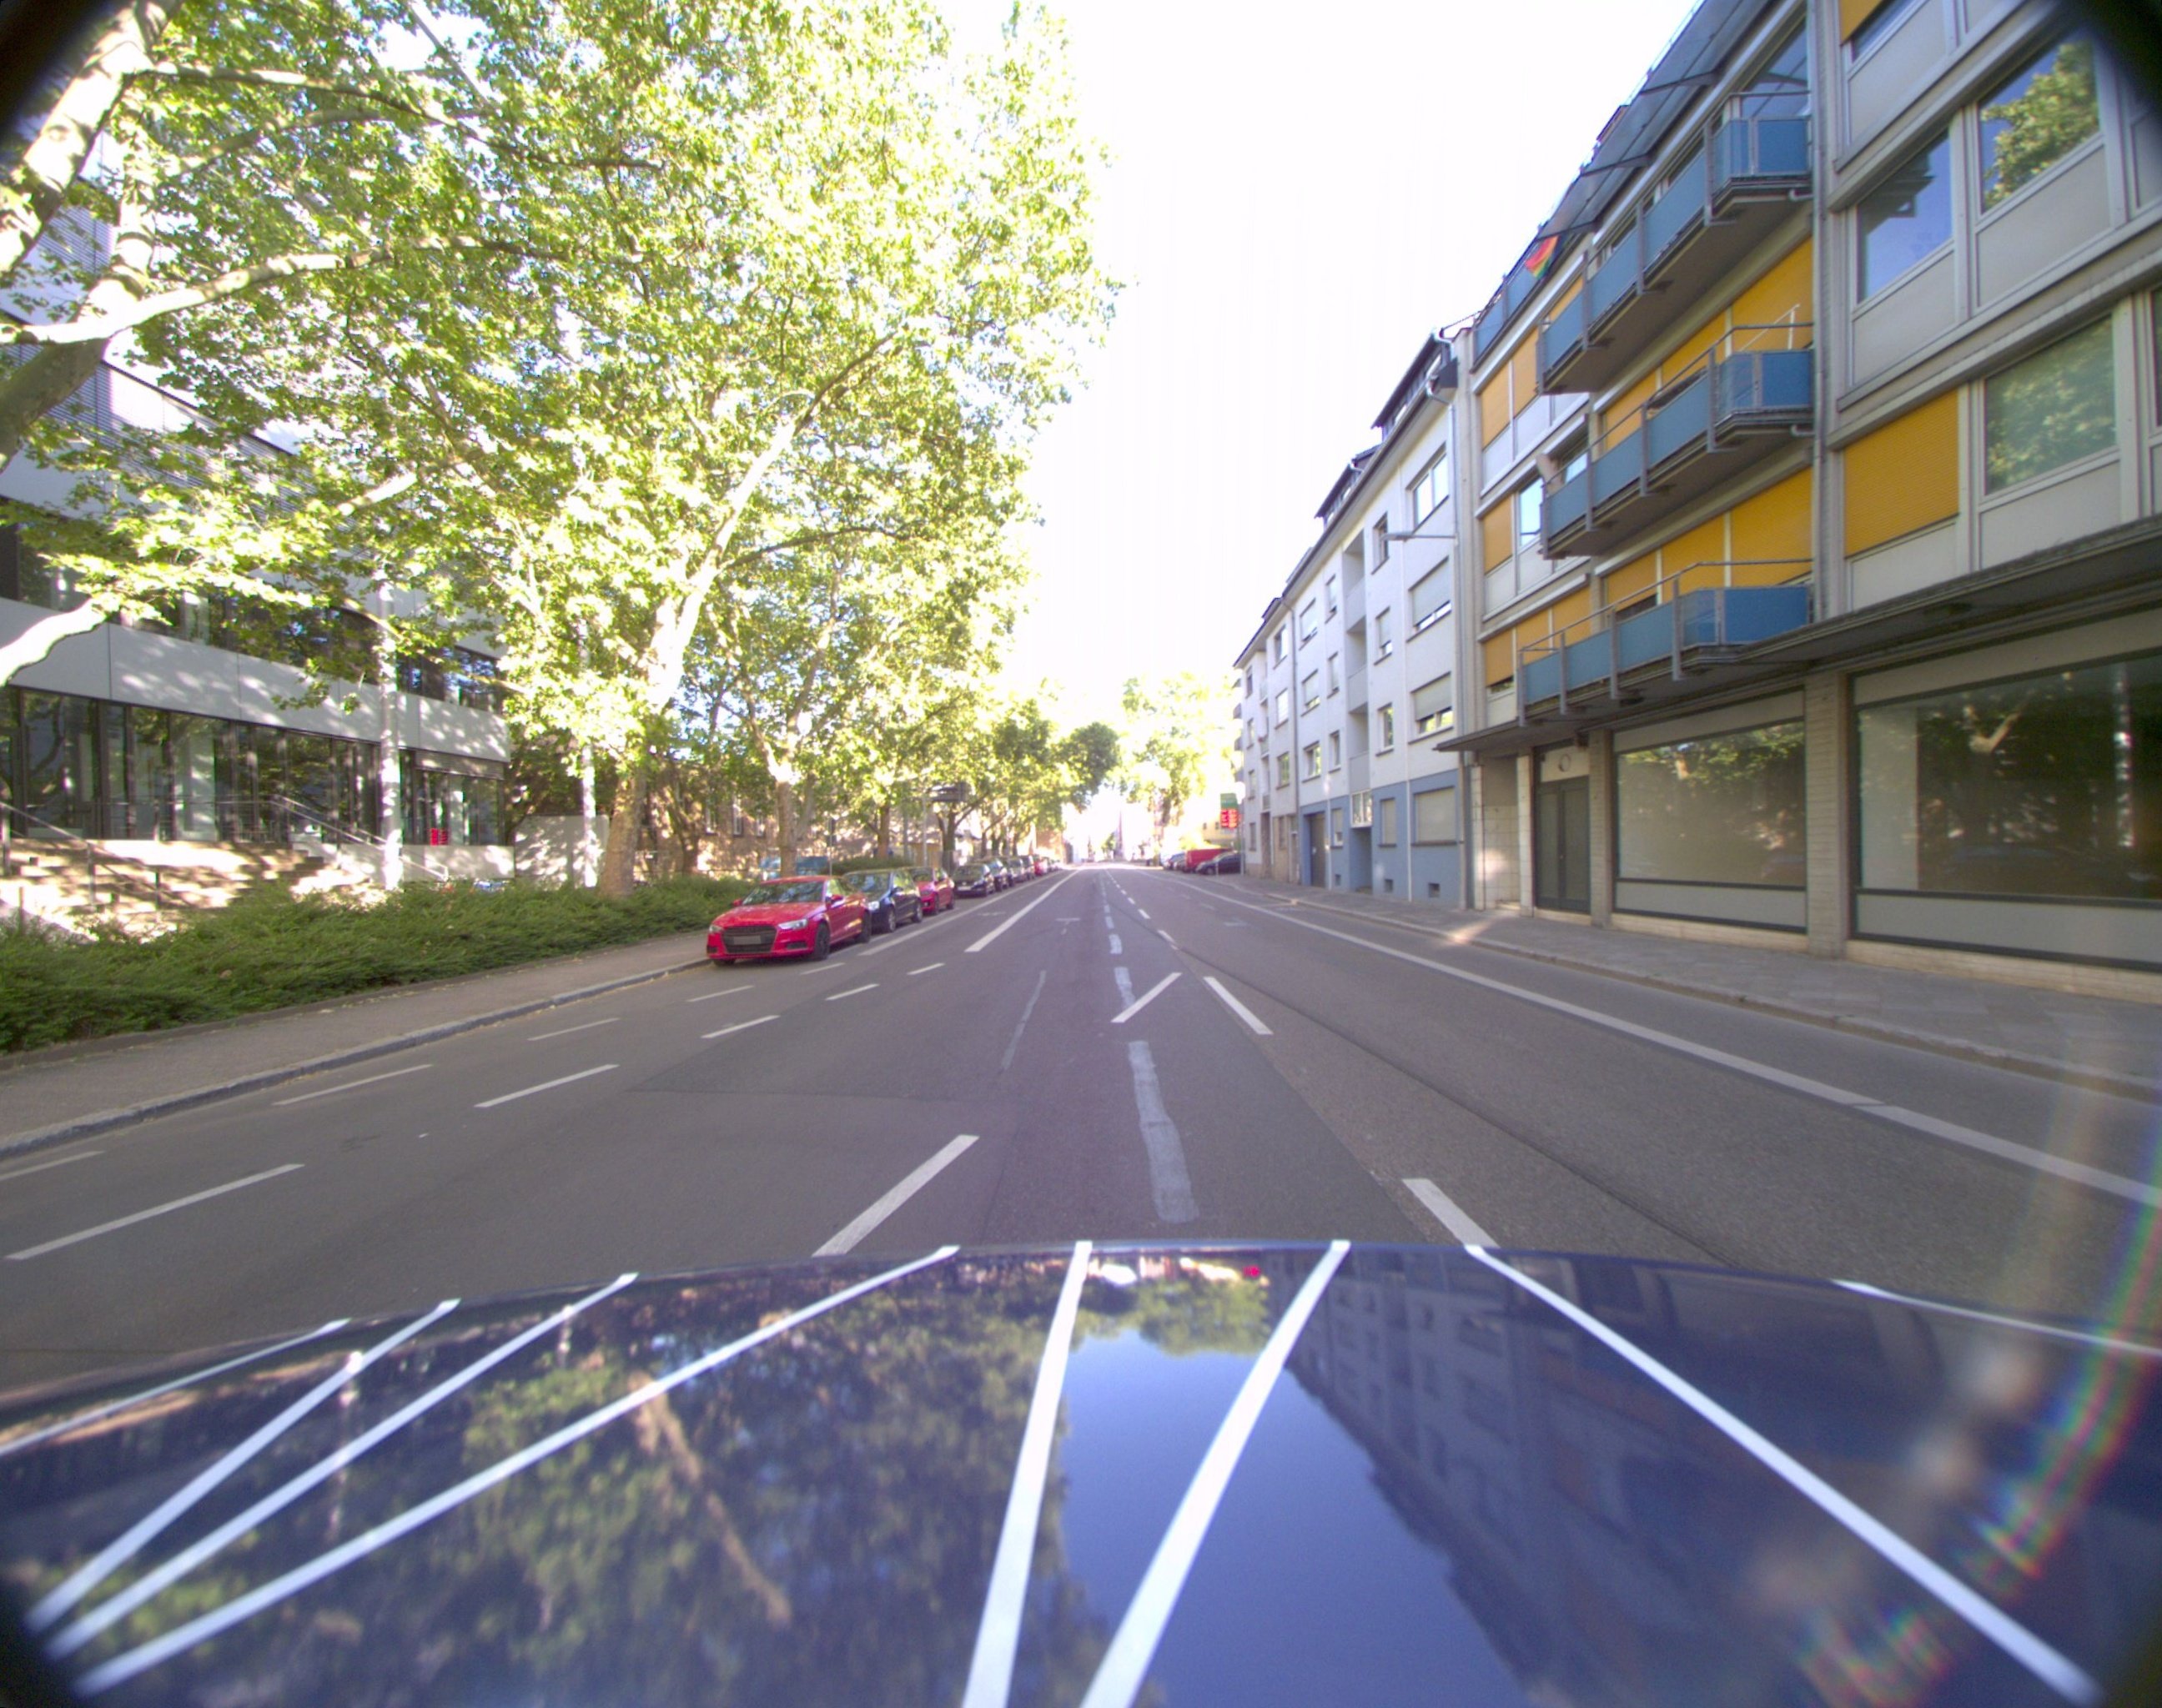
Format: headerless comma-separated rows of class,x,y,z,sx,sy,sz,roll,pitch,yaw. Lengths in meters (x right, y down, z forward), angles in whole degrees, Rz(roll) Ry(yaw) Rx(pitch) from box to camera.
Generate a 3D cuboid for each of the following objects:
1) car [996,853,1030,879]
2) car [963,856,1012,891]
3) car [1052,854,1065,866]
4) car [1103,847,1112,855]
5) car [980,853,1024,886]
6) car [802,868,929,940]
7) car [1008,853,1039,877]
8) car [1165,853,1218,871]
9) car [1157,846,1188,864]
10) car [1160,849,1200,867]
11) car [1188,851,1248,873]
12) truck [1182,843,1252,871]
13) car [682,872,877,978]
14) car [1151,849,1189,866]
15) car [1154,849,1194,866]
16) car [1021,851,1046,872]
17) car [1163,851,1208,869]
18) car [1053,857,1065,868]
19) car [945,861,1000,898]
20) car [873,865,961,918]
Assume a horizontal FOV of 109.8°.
car,-4.448,0.740,50.464,1.798,1.608,4.075,-1,0,1
car,-4.629,0.921,38.220,1.848,1.572,4.232,-2,0,1
car,-3.007,0.820,102.870,1.707,1.459,3.809,-1,0,0
car,6.749,-0.791,193.472,1.998,2.002,3.999,-2,1,1
car,-4.552,0.869,44.203,1.998,1.715,4.262,-2,1,1
car,-5.068,1.119,18.453,1.813,1.449,4.000,-1,0,2
car,-4.176,0.752,55.520,1.831,1.608,4.177,-1,0,1
car,9.098,0.659,62.820,4.033,1.265,1.906,-2,1,-1
car,10.222,0.109,85.278,3.267,1.927,1.693,-2,1,2
car,9.871,0.382,75.921,3.658,1.578,1.659,-2,1,-5
car,9.841,0.567,54.853,3.997,1.385,1.781,-2,1,-1
truck,10.719,0.238,60.107,5.088,2.009,2.000,-2,1,0
car,-5.137,1.123,13.638,1.775,1.416,4.173,-3,0,0
car,9.477,0.375,80.871,3.728,1.579,1.743,-2,1,-5
car,9.606,0.379,78.580,3.703,1.573,1.718,-2,1,-5
car,-4.116,0.617,66.190,1.876,1.685,4.166,-1,0,1
car,10.080,0.571,73.378,3.998,1.618,1.702,-2,1,-5
car,-2.638,1.031,92.408,1.300,1.220,3.241,-1,0,0
car,-4.683,1.083,33.273,1.745,1.430,4.000,-1,0,1
car,-5.006,1.099,23.747,1.790,1.429,4.000,-1,0,1
